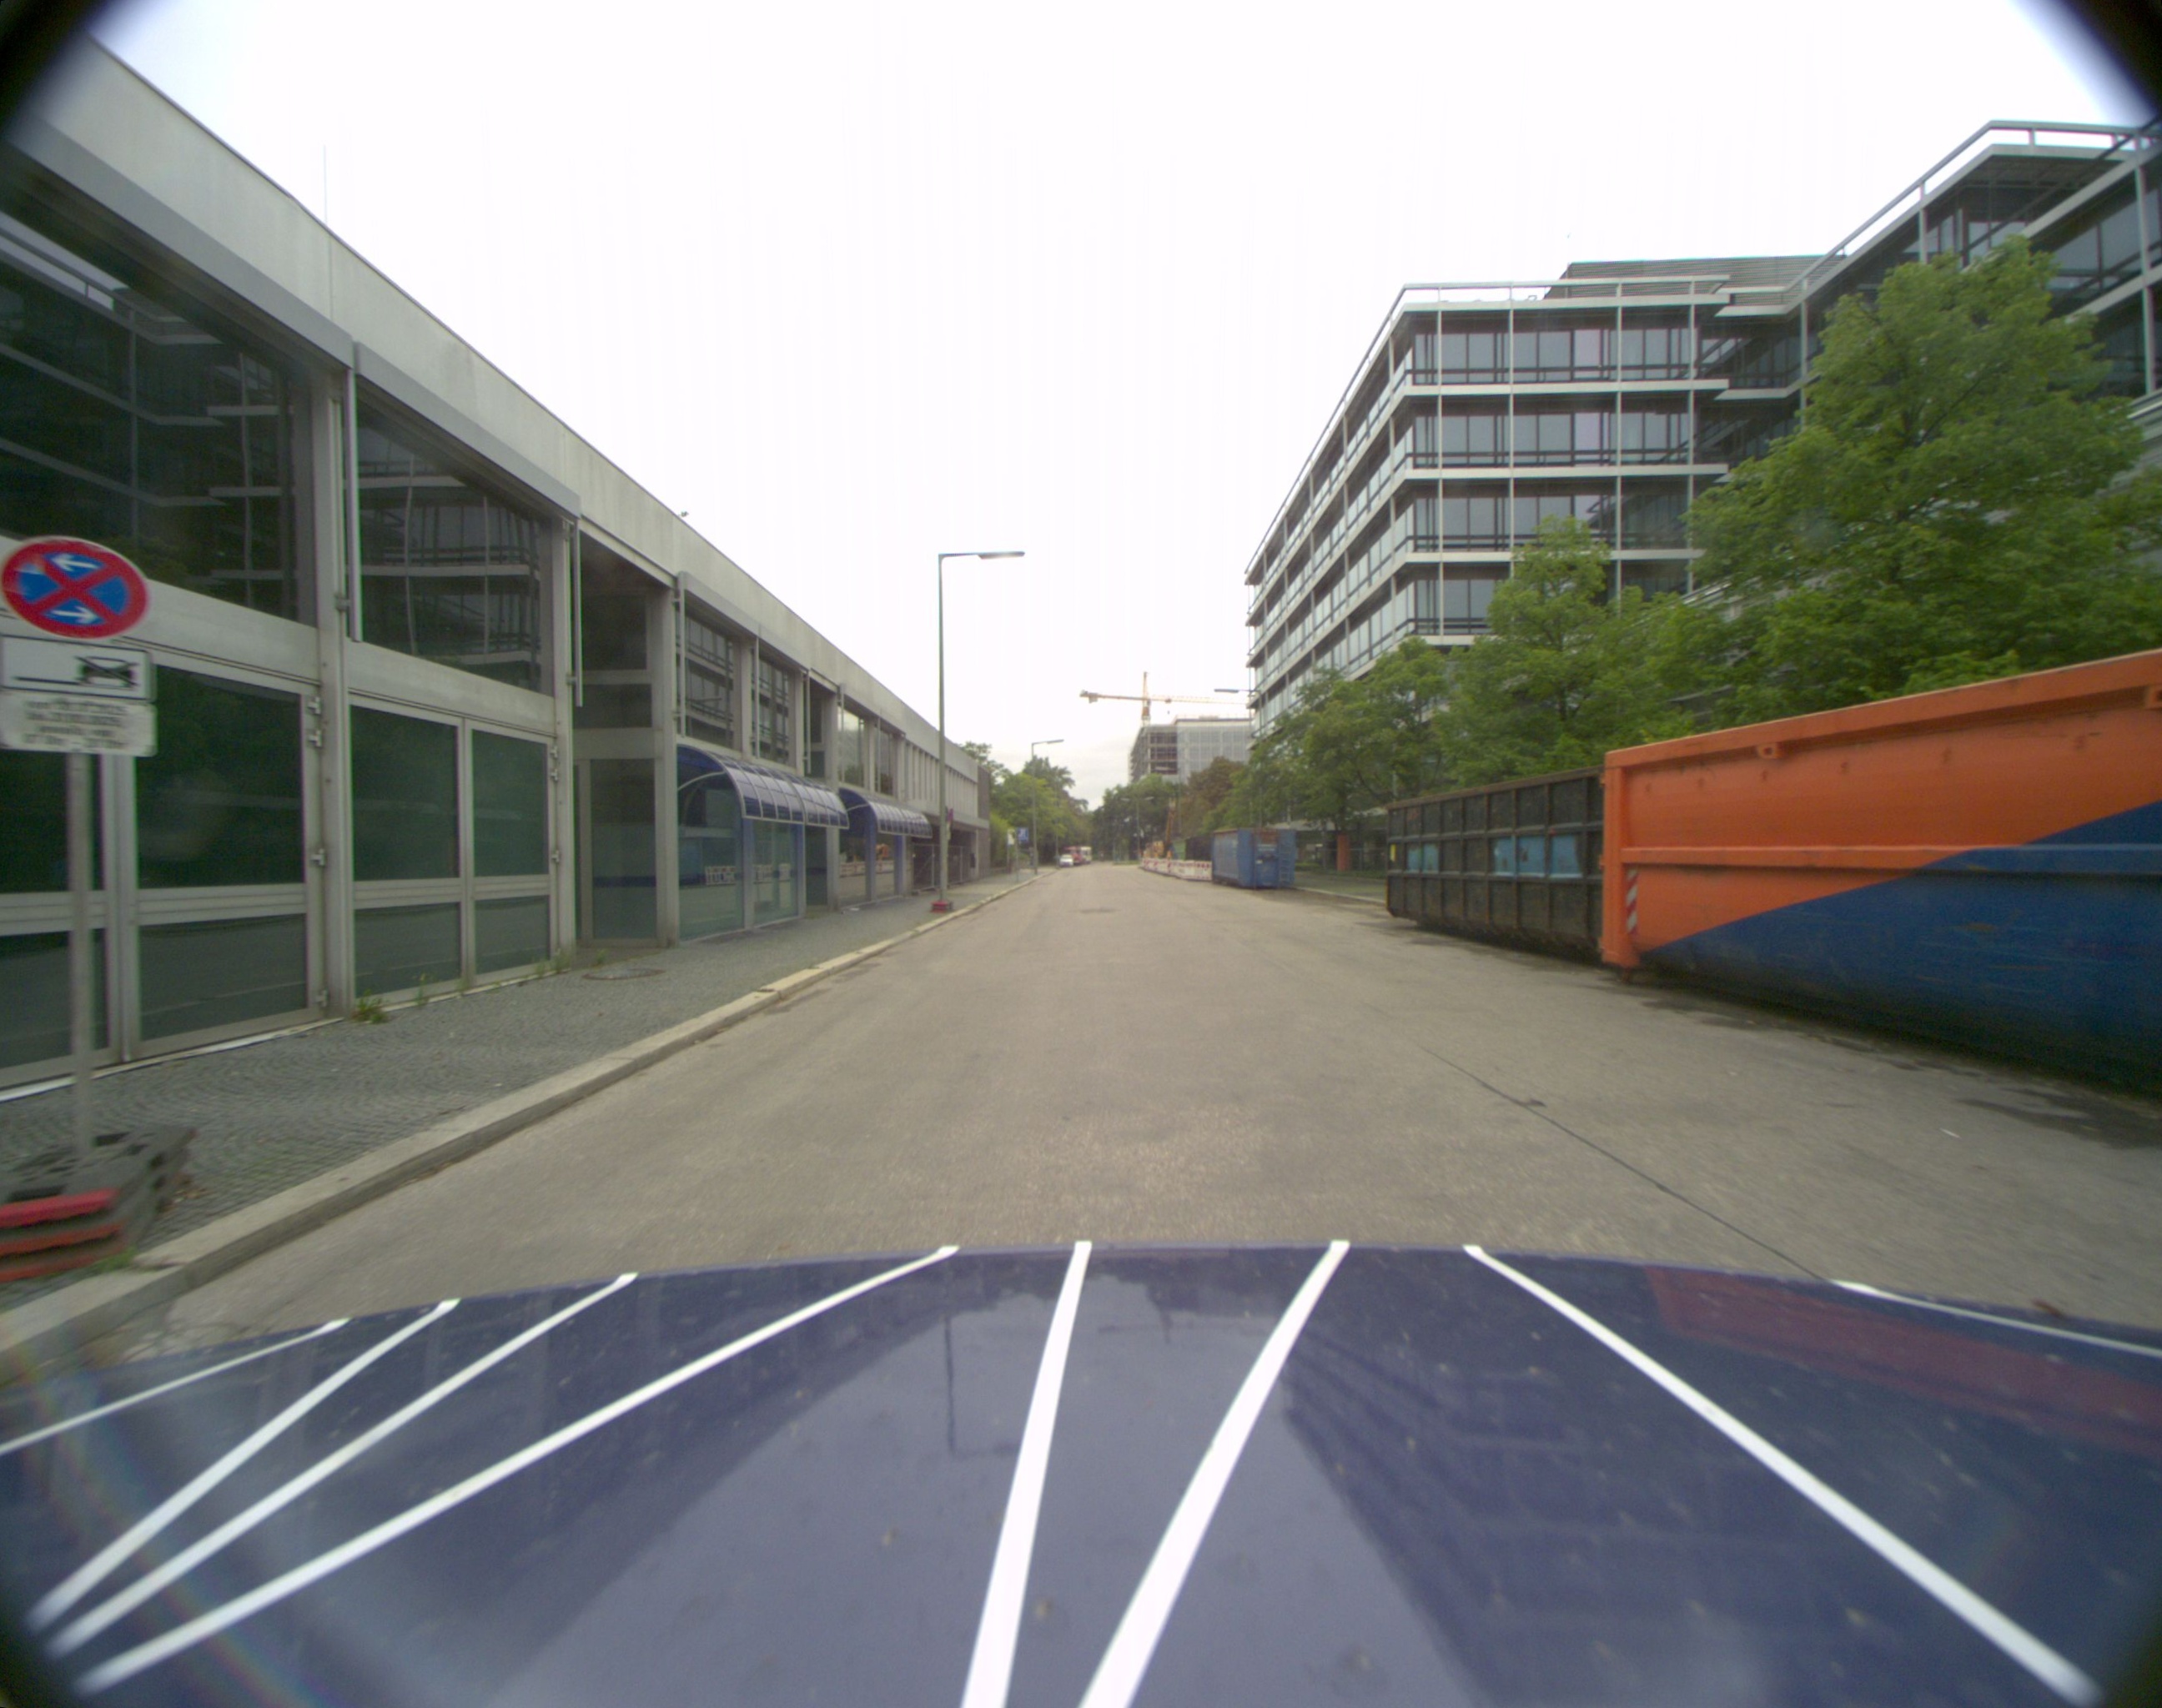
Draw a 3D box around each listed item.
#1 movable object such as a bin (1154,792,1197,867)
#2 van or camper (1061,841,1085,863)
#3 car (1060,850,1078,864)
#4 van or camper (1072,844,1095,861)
[{"bbox_3d":[8.373,-2.100,68.519,3.241,6.286,8.337,-1,1,3],"label":"movable object such as a bin"},{"bbox_3d":[-1.009,-0.249,100.918,2.666,2.751,6.916,-1,0,4],"label":"van or camper"},{"bbox_3d":[-1.483,0.372,94.655,1.912,1.627,4.000,-1,0,2],"label":"car"},{"bbox_3d":[0.404,-0.254,115.205,2.665,2.436,6.448,-1,0,7],"label":"van or camper"}]
